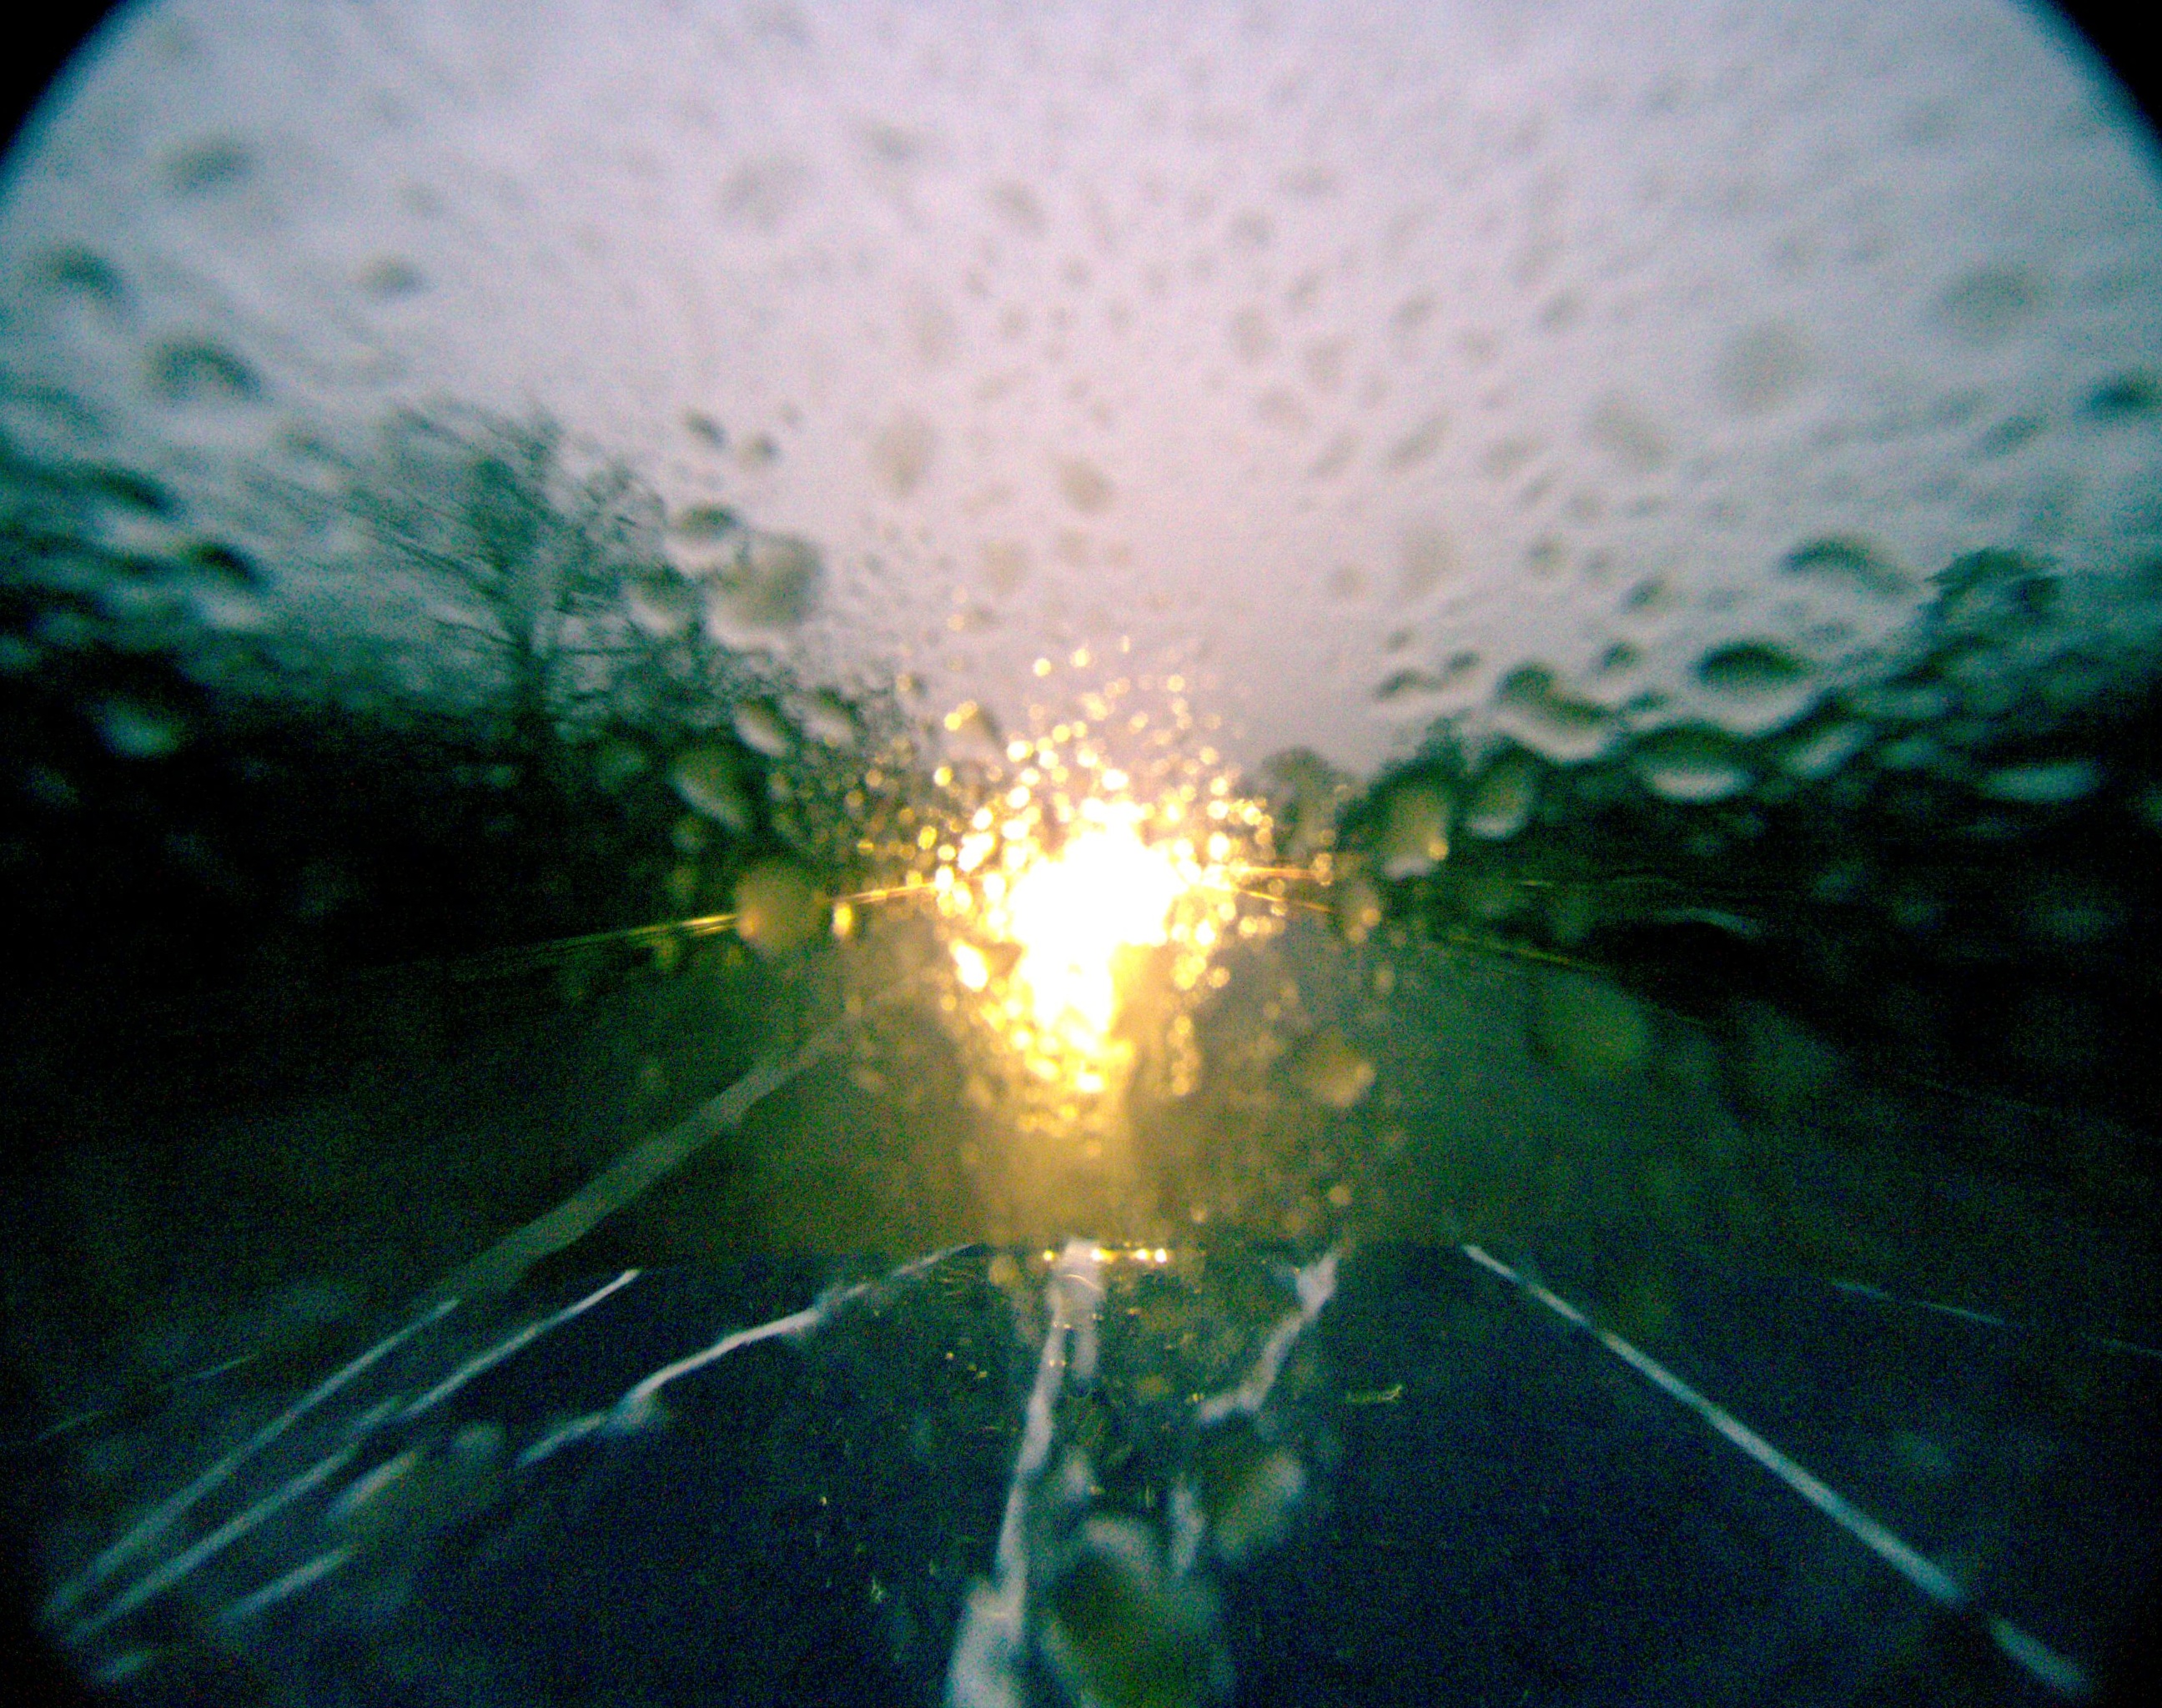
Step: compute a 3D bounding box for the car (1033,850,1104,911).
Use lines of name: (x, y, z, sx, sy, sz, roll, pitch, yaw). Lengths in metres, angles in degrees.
car: (-0.315, 0.809, 25.122, 1.928, 1.781, 3.942, -2, 0, 4)

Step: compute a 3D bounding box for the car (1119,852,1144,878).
car: (4.014, 0.854, 61.222, 1.766, 1.922, 4.000, -2, 0, 1)

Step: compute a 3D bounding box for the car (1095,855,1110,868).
car: (2.747, 0.909, 95.066, 1.741, 1.441, 4.000, -2, 0, 3)
